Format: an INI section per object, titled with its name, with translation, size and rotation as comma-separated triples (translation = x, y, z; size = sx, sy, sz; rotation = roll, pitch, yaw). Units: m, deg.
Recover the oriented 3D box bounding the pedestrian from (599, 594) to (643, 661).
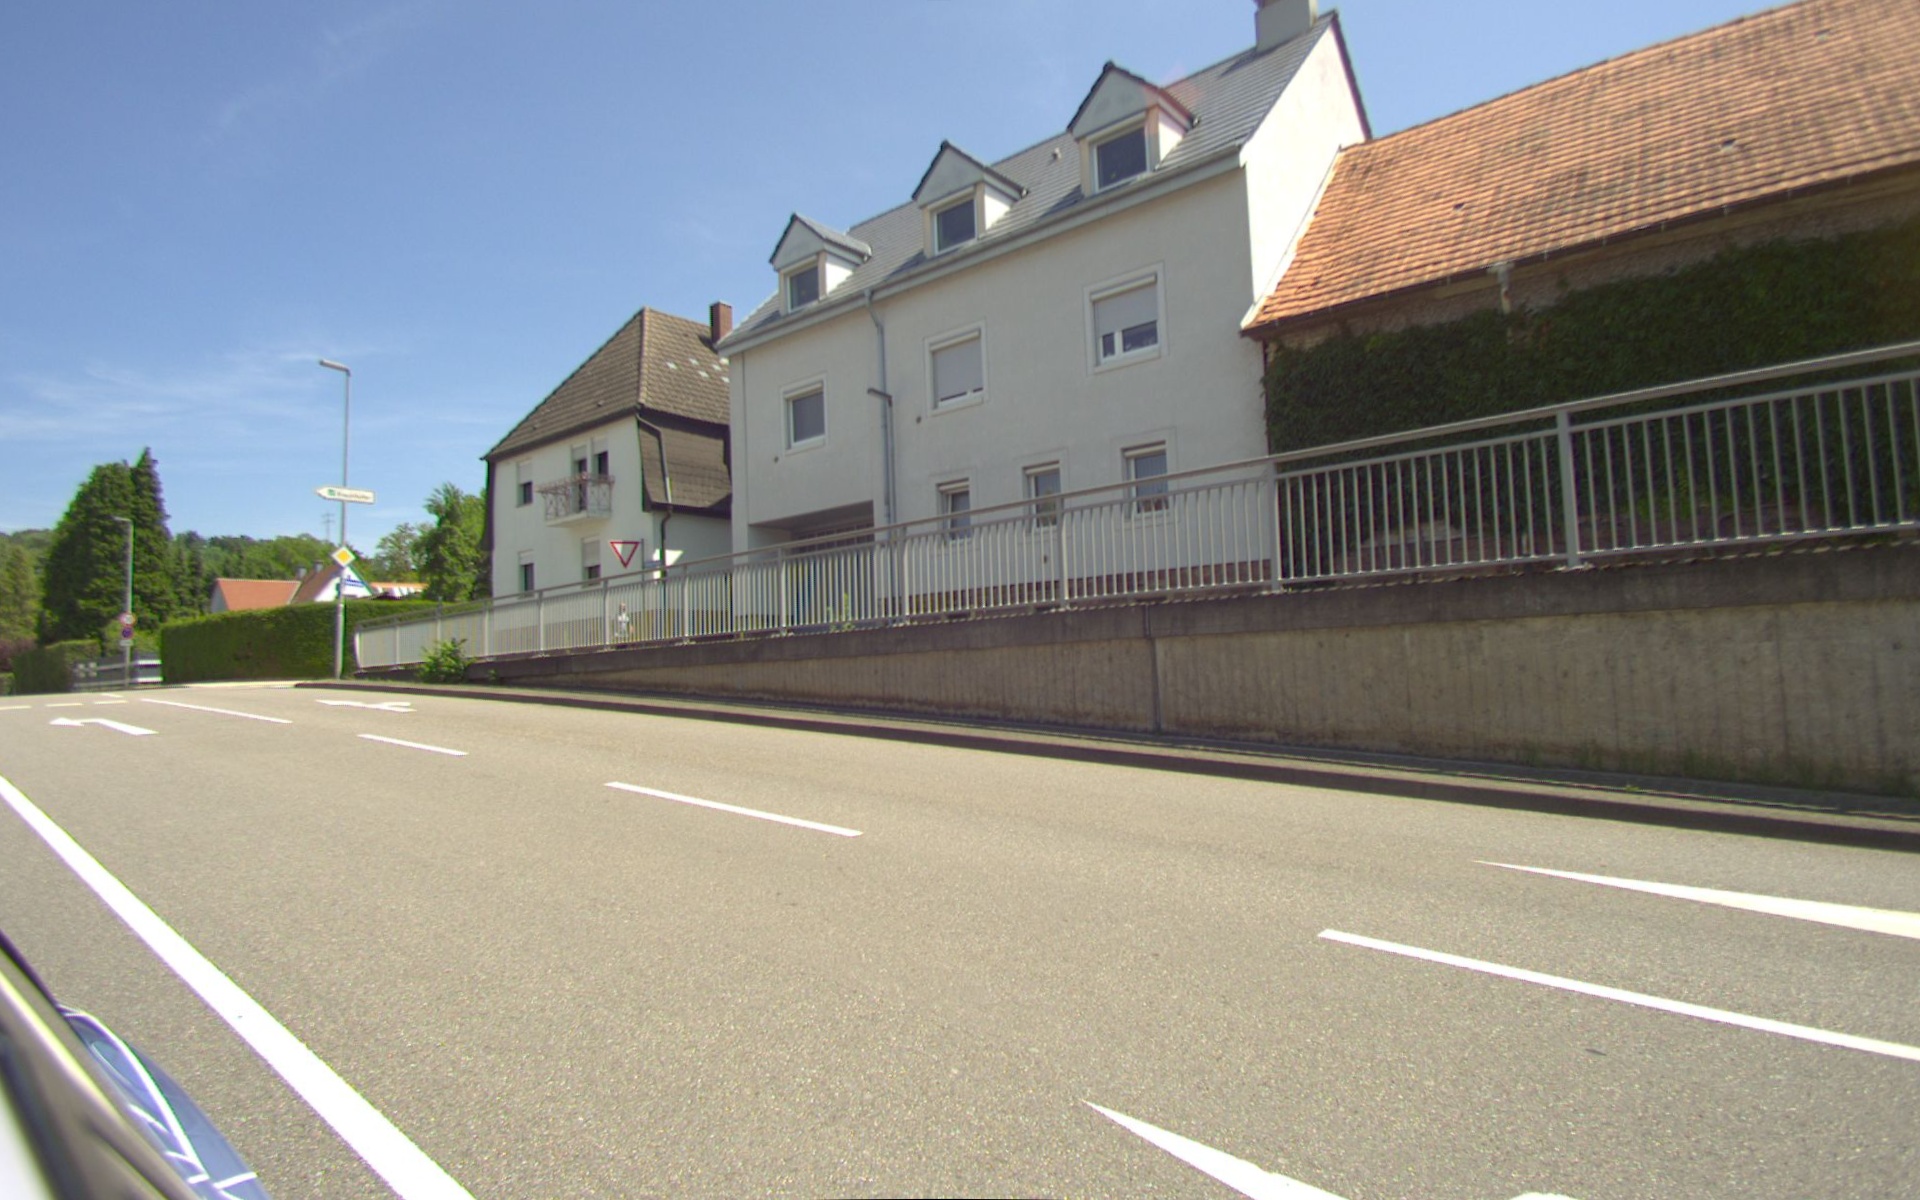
[pedestrian]
translation = -8.945, 0.726, 26.700
size = 0.855, 1.742, 0.720
rotation = -2, -2, 38
